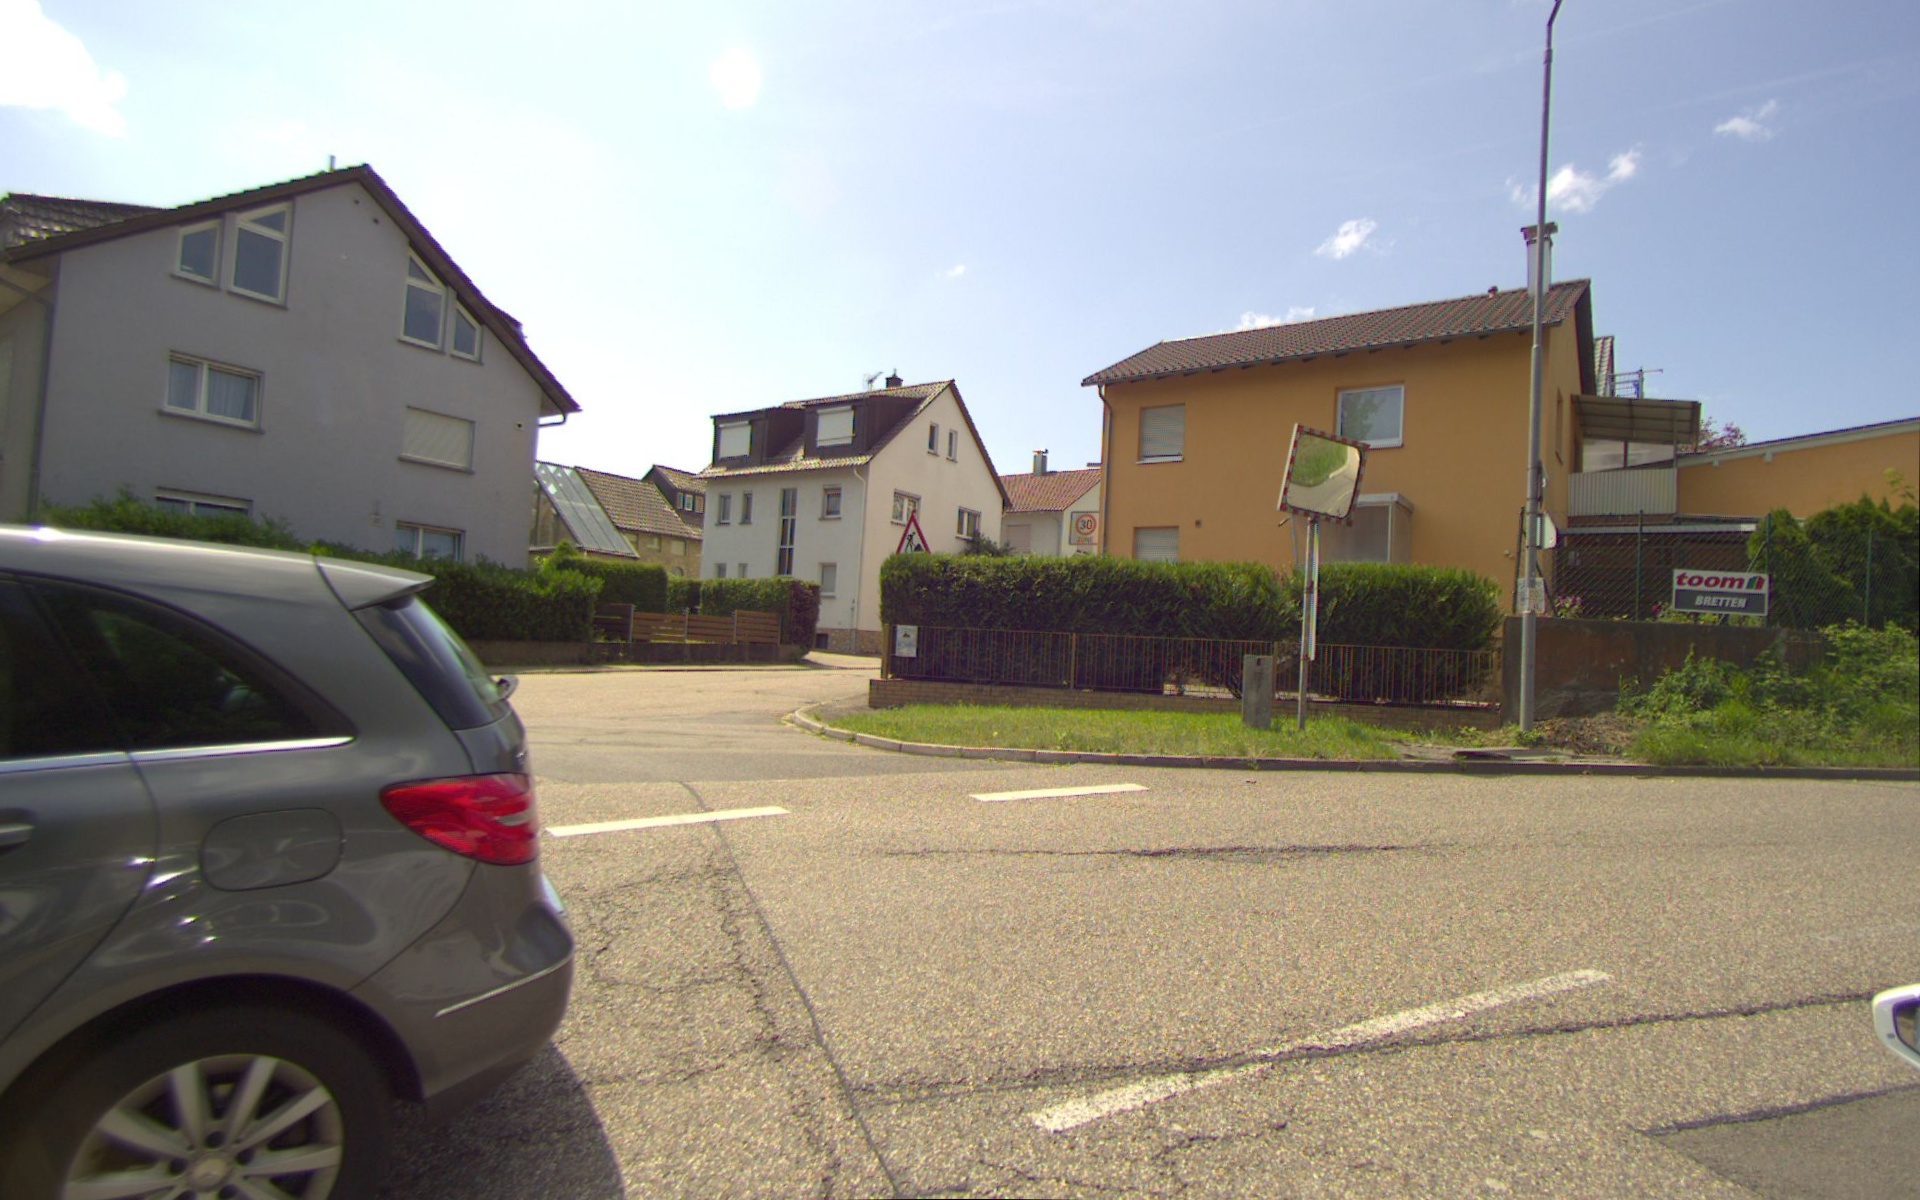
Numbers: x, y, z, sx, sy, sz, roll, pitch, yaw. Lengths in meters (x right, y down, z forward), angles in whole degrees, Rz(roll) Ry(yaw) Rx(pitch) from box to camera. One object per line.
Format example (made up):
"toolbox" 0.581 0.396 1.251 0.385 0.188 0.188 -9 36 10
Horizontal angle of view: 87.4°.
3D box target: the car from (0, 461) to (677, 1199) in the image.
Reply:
"car" -2.819 0.533 1.914 4.083 1.576 1.709 1 1 -32
